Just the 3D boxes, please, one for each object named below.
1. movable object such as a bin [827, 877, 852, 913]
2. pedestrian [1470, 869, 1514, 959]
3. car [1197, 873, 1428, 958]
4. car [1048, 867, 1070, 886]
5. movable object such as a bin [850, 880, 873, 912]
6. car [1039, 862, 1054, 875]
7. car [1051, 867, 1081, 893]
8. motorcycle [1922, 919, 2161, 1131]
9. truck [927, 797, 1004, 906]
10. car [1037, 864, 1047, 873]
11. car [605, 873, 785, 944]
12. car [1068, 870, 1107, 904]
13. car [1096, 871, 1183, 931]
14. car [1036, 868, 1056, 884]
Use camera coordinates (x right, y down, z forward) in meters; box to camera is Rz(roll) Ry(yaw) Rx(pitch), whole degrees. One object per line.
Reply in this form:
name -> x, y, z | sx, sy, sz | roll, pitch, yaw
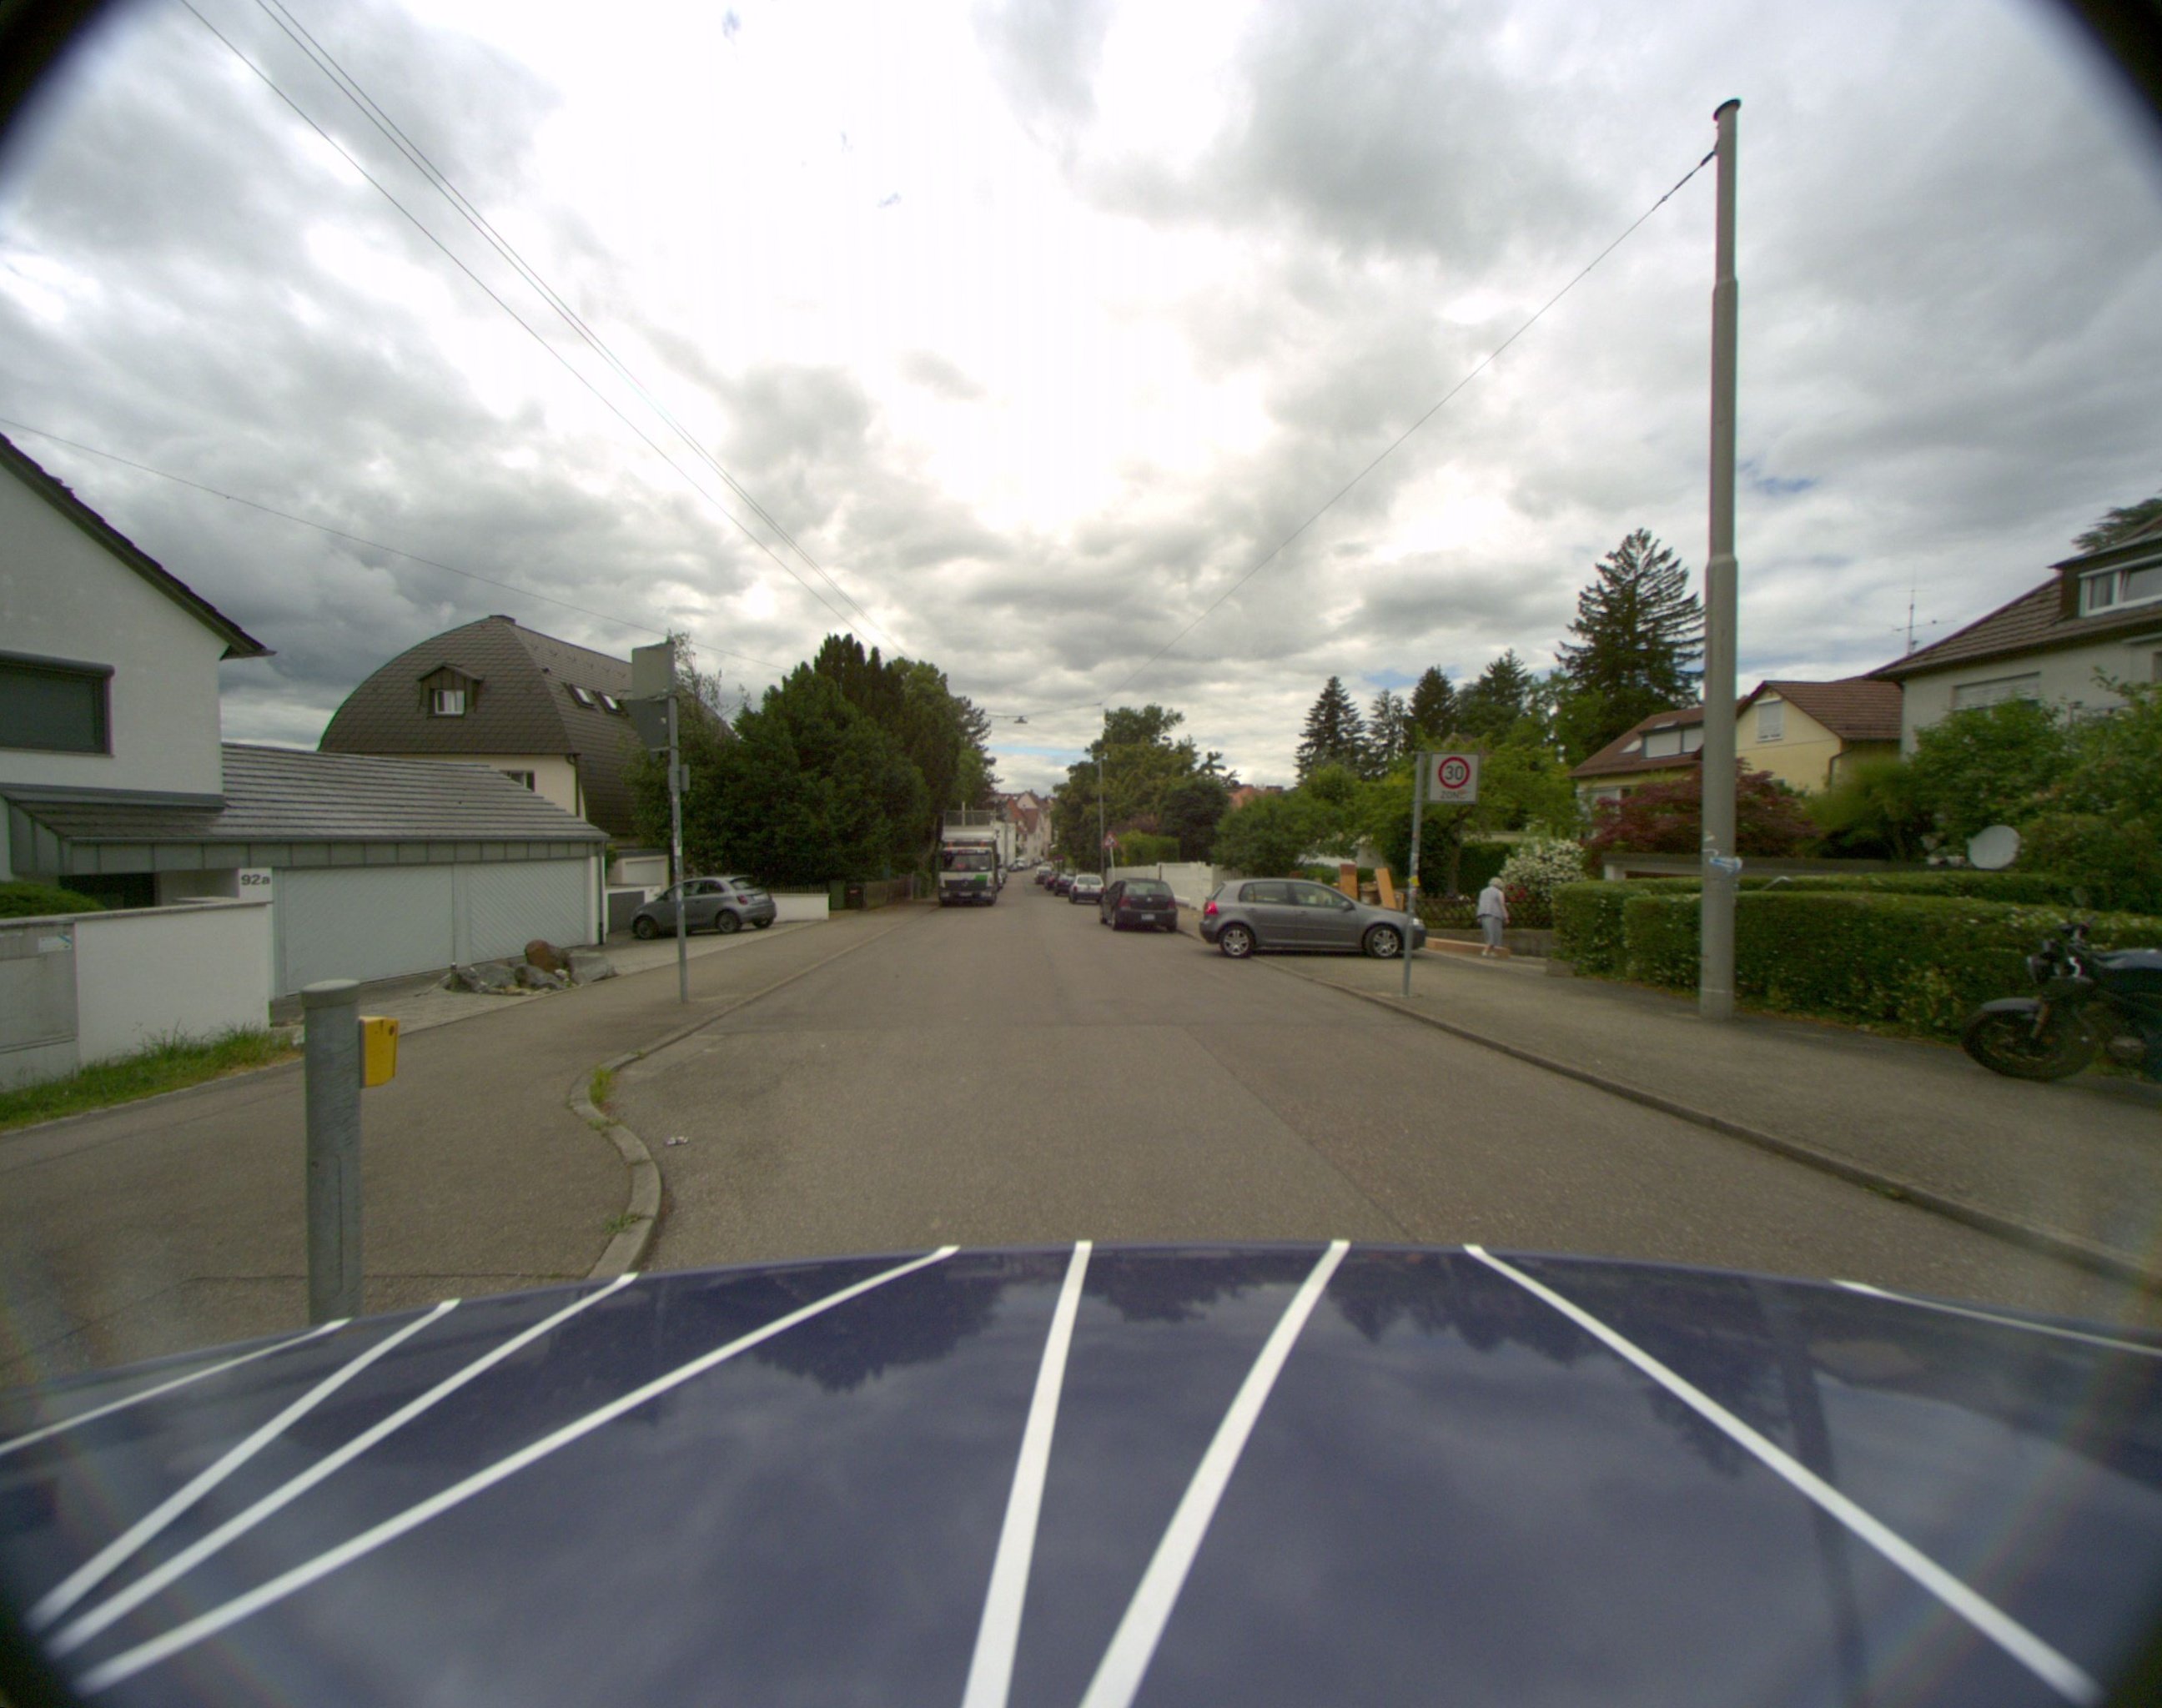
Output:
movable object such as a bin -> -8.517, 1.449, 26.820 | 0.600, 1.200, 0.951 | -3, -2, -7
pedestrian -> 8.494, 1.212, 15.708 | 0.614, 1.794, 0.644 | -1, 1, -44
car -> 4.318, 1.118, 14.572 | 3.993, 1.453, 1.740 | -1, 0, 14
car -> -1.806, 1.816, 61.323 | 1.539, 1.459, 3.312 | 3, -2, -4
movable object such as a bin -> -7.813, 1.496, 27.041 | 0.600, 1.098, 0.951 | -3, -2, -7
car -> -4.132, 1.743, 90.802 | 1.621, 1.460, 3.311 | 3, 0, -4
car -> -0.979, 1.633, 47.703 | 1.621, 1.460, 3.311 | 3, 0, -4
motorcycle -> 6.582, 1.026, 4.439 | 0.775, 1.133, 2.144 | 0, -1, -11
truck -> -5.231, -0.063, 35.532 | 3.154, 4.524, 7.948 | 0, 0, -6
car -> -5.636, 2.084, 110.012 | 1.424, 1.277, 3.311 | 3, 0, -4
car -> -10.057, 1.402, 19.918 | 3.853, 1.488, 1.693 | -4, 0, 9
car -> 0.273, 1.597, 37.358 | 1.621, 1.460, 3.311 | 3, 0, -4
car -> 1.535, 1.237, 21.345 | 1.759, 1.435, 3.800 | 2, -1, -6
car -> -3.853, 2.406, 83.765 | 1.888, 1.746, 3.701 | 0, 0, -7
